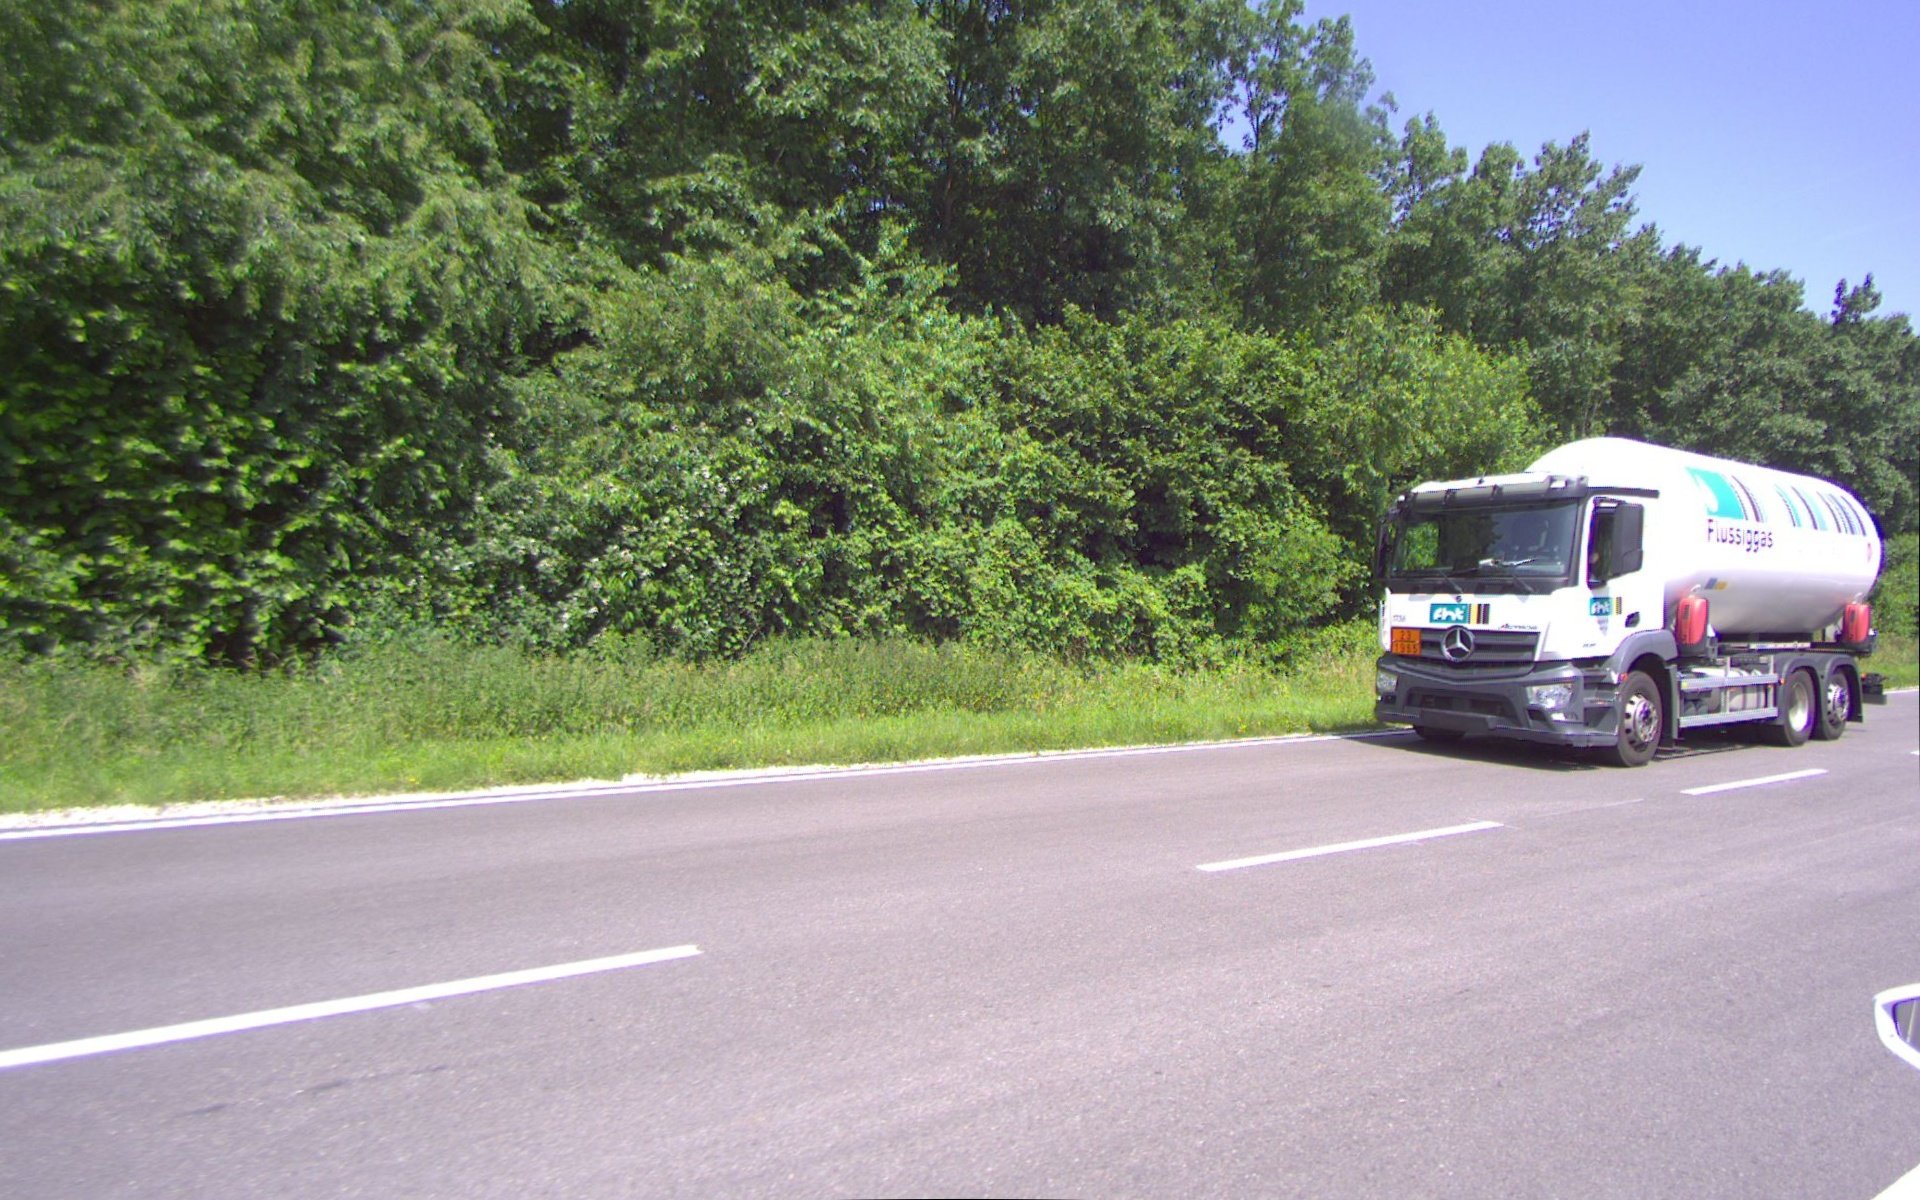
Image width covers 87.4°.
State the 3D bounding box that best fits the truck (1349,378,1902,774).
[{"bbox_3d":[8.888,-0.126,12.895,8.701,3.720,2.612,2,0,-33],"label":"truck"}]
